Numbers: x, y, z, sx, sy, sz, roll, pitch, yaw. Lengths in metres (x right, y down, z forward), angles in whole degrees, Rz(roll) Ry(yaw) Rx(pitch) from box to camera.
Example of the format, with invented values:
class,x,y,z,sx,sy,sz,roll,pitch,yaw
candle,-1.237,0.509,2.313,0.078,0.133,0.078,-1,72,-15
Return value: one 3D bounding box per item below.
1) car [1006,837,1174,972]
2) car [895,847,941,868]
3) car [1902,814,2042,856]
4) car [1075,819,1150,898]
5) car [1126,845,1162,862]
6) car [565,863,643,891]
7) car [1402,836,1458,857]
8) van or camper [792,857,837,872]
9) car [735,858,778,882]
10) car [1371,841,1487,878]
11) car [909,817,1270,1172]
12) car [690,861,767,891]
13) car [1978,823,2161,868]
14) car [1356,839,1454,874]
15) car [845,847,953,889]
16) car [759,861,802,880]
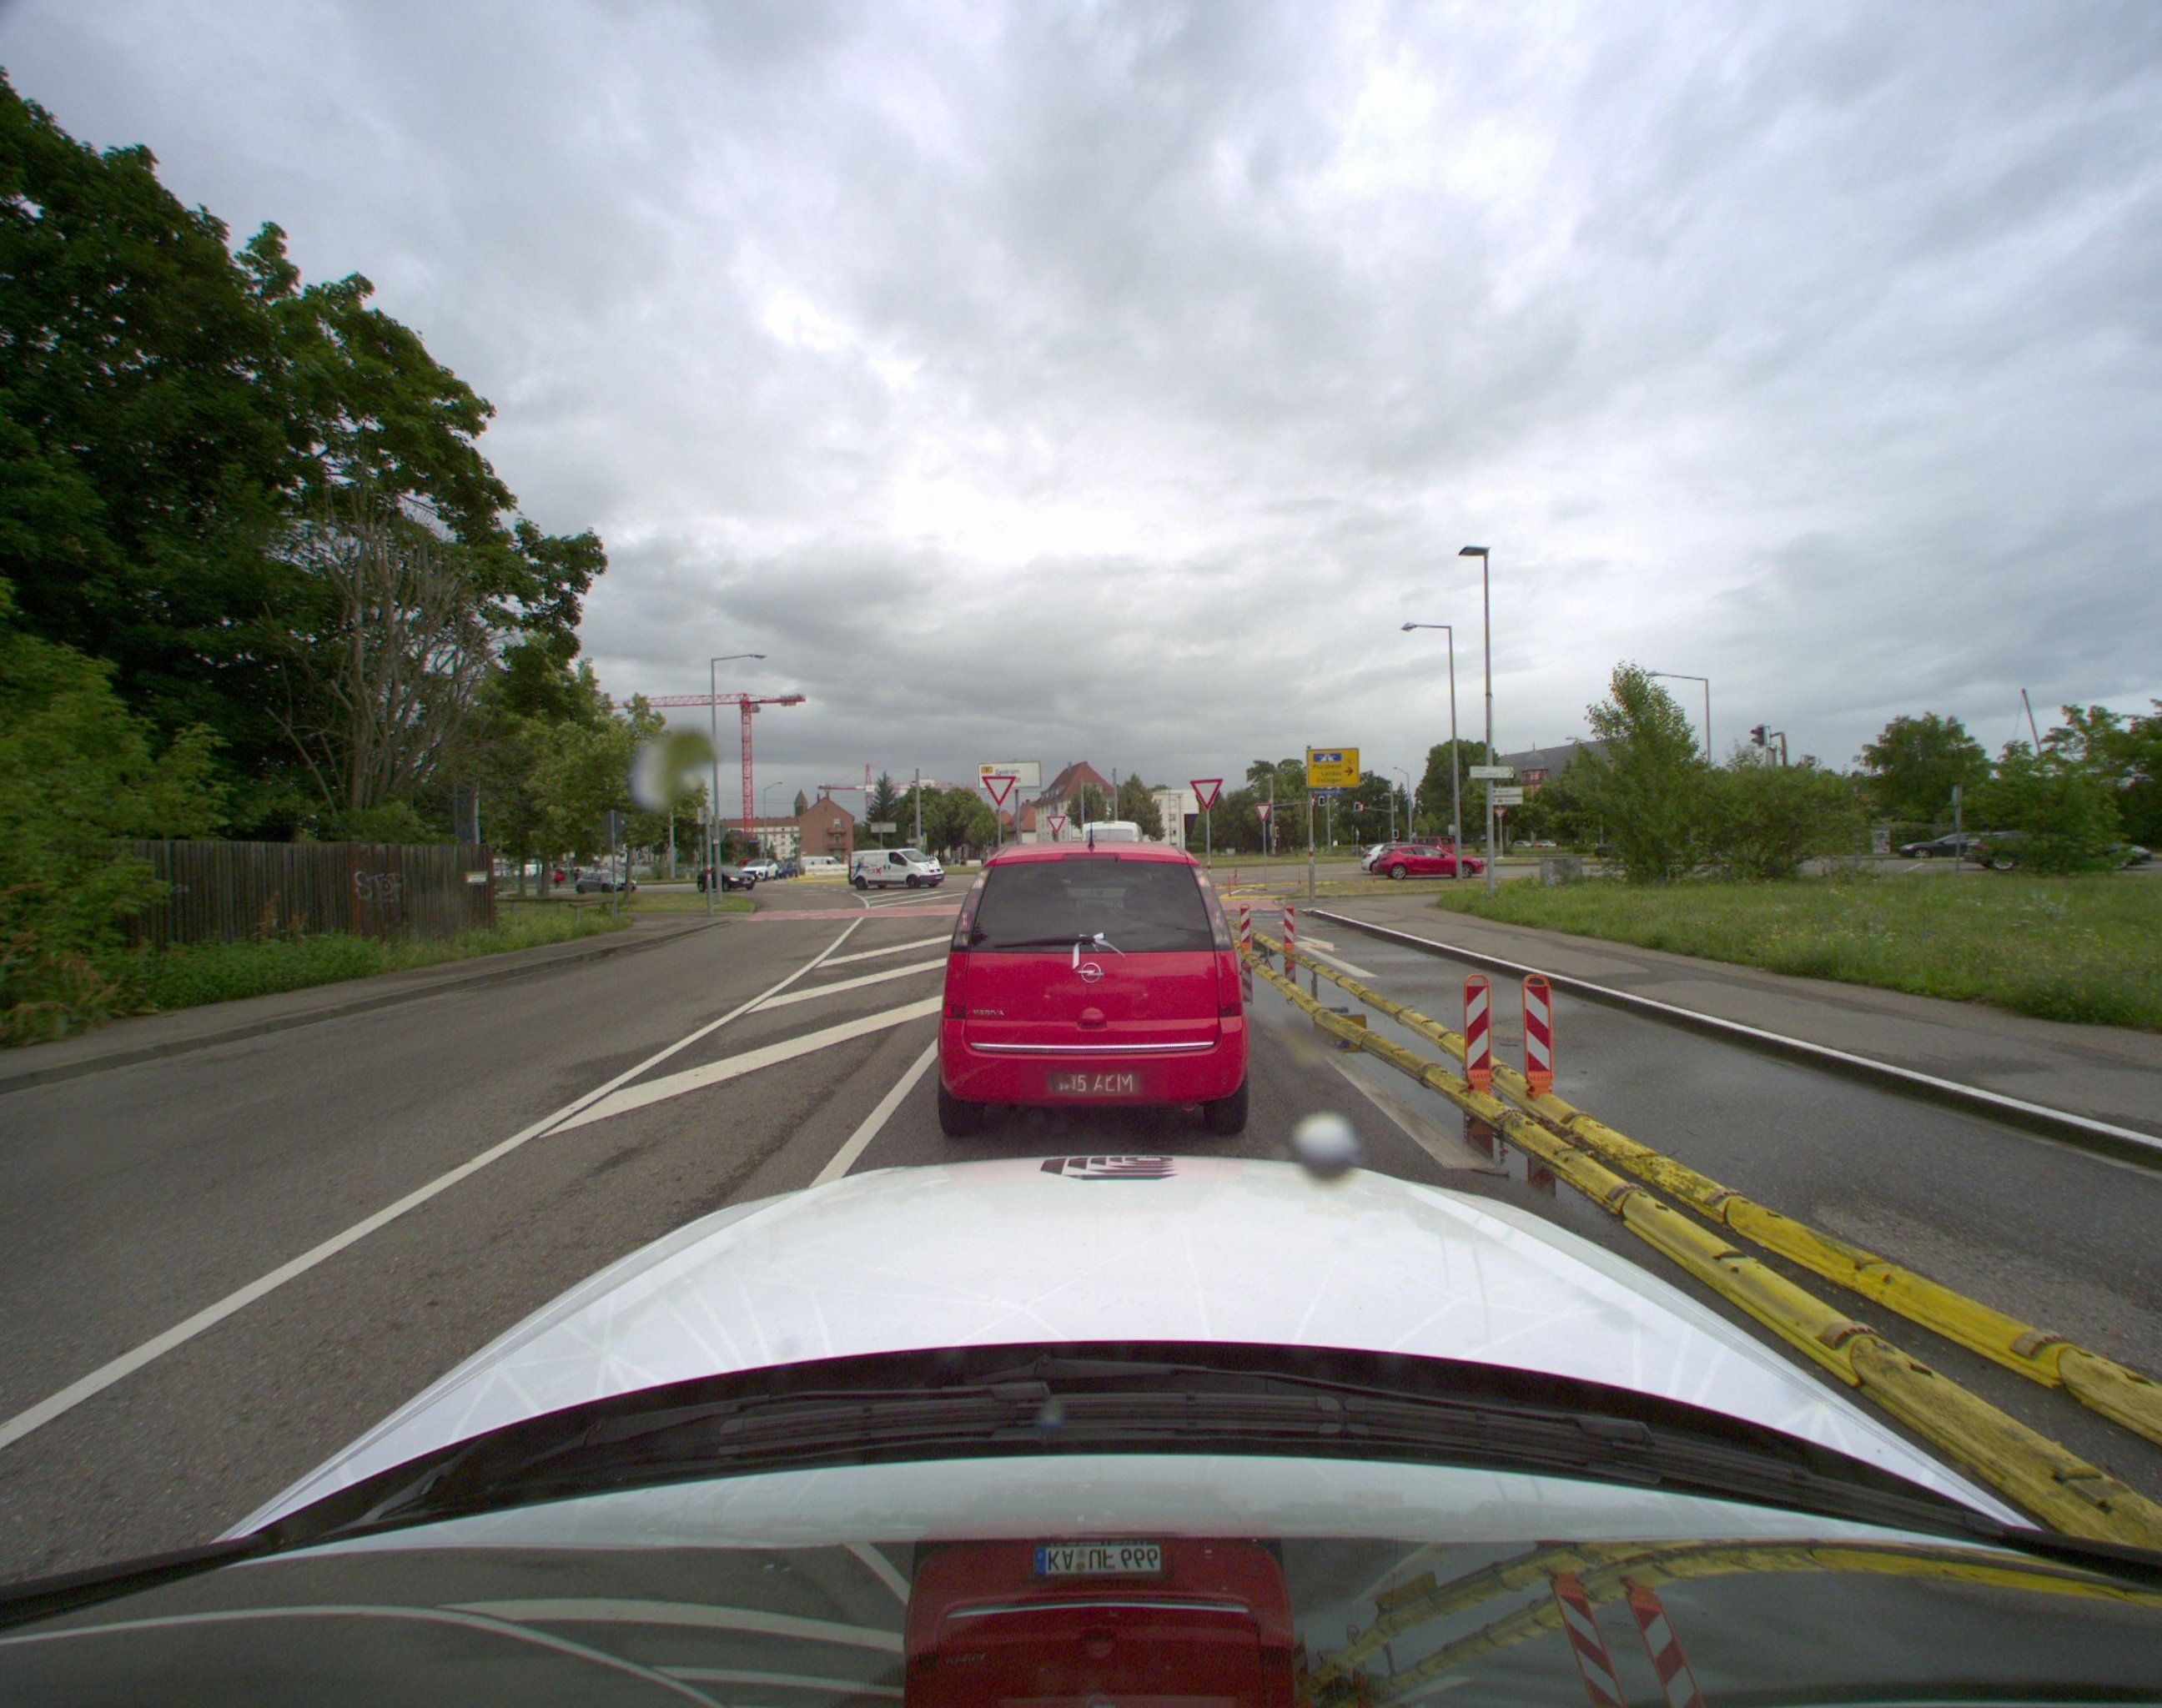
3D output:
class,x,y,z,sx,sy,sz,roll,pitch,yaw
car,0.178,0.611,12.308,2.052,1.648,4.609,-1,0,2
car,-16.989,0.389,85.081,1.974,2.013,4.509,-2,0,37
car,47.026,-0.971,43.110,2.011,2.013,4.881,-2,0,-42
car,1.215,0.141,29.038,2.183,2.540,4.973,-1,0,7
car,7.956,-0.052,102.870,4.442,2.013,2.003,-2,0,5
car,-30.584,1.478,52.225,4.385,1.602,2.111,-2,0,24
car,34.013,-0.727,79.502,2.118,1.917,4.852,-2,0,-23
van or camper,-39.754,1.637,121.487,6.135,2.013,2.007,-2,0,12
car,-24.648,1.215,62.055,1.928,1.684,4.180,-2,0,-6
car,15.019,0.234,35.415,4.314,1.464,2.007,-2,0,12
car,0.093,0.648,5.605,1.667,1.640,3.629,-1,0,2
car,-20.238,1.262,46.670,4.382,1.602,2.112,-2,0,36
car,35.883,-0.305,29.424,4.266,1.464,2.013,-2,0,34
car,15.192,0.114,38.413,3.962,1.508,2.006,-2,0,10
car,-9.023,0.696,40.385,4.790,1.900,2.110,-2,0,22
car,-25.241,1.357,68.488,1.923,1.489,4.002,-2,0,2
